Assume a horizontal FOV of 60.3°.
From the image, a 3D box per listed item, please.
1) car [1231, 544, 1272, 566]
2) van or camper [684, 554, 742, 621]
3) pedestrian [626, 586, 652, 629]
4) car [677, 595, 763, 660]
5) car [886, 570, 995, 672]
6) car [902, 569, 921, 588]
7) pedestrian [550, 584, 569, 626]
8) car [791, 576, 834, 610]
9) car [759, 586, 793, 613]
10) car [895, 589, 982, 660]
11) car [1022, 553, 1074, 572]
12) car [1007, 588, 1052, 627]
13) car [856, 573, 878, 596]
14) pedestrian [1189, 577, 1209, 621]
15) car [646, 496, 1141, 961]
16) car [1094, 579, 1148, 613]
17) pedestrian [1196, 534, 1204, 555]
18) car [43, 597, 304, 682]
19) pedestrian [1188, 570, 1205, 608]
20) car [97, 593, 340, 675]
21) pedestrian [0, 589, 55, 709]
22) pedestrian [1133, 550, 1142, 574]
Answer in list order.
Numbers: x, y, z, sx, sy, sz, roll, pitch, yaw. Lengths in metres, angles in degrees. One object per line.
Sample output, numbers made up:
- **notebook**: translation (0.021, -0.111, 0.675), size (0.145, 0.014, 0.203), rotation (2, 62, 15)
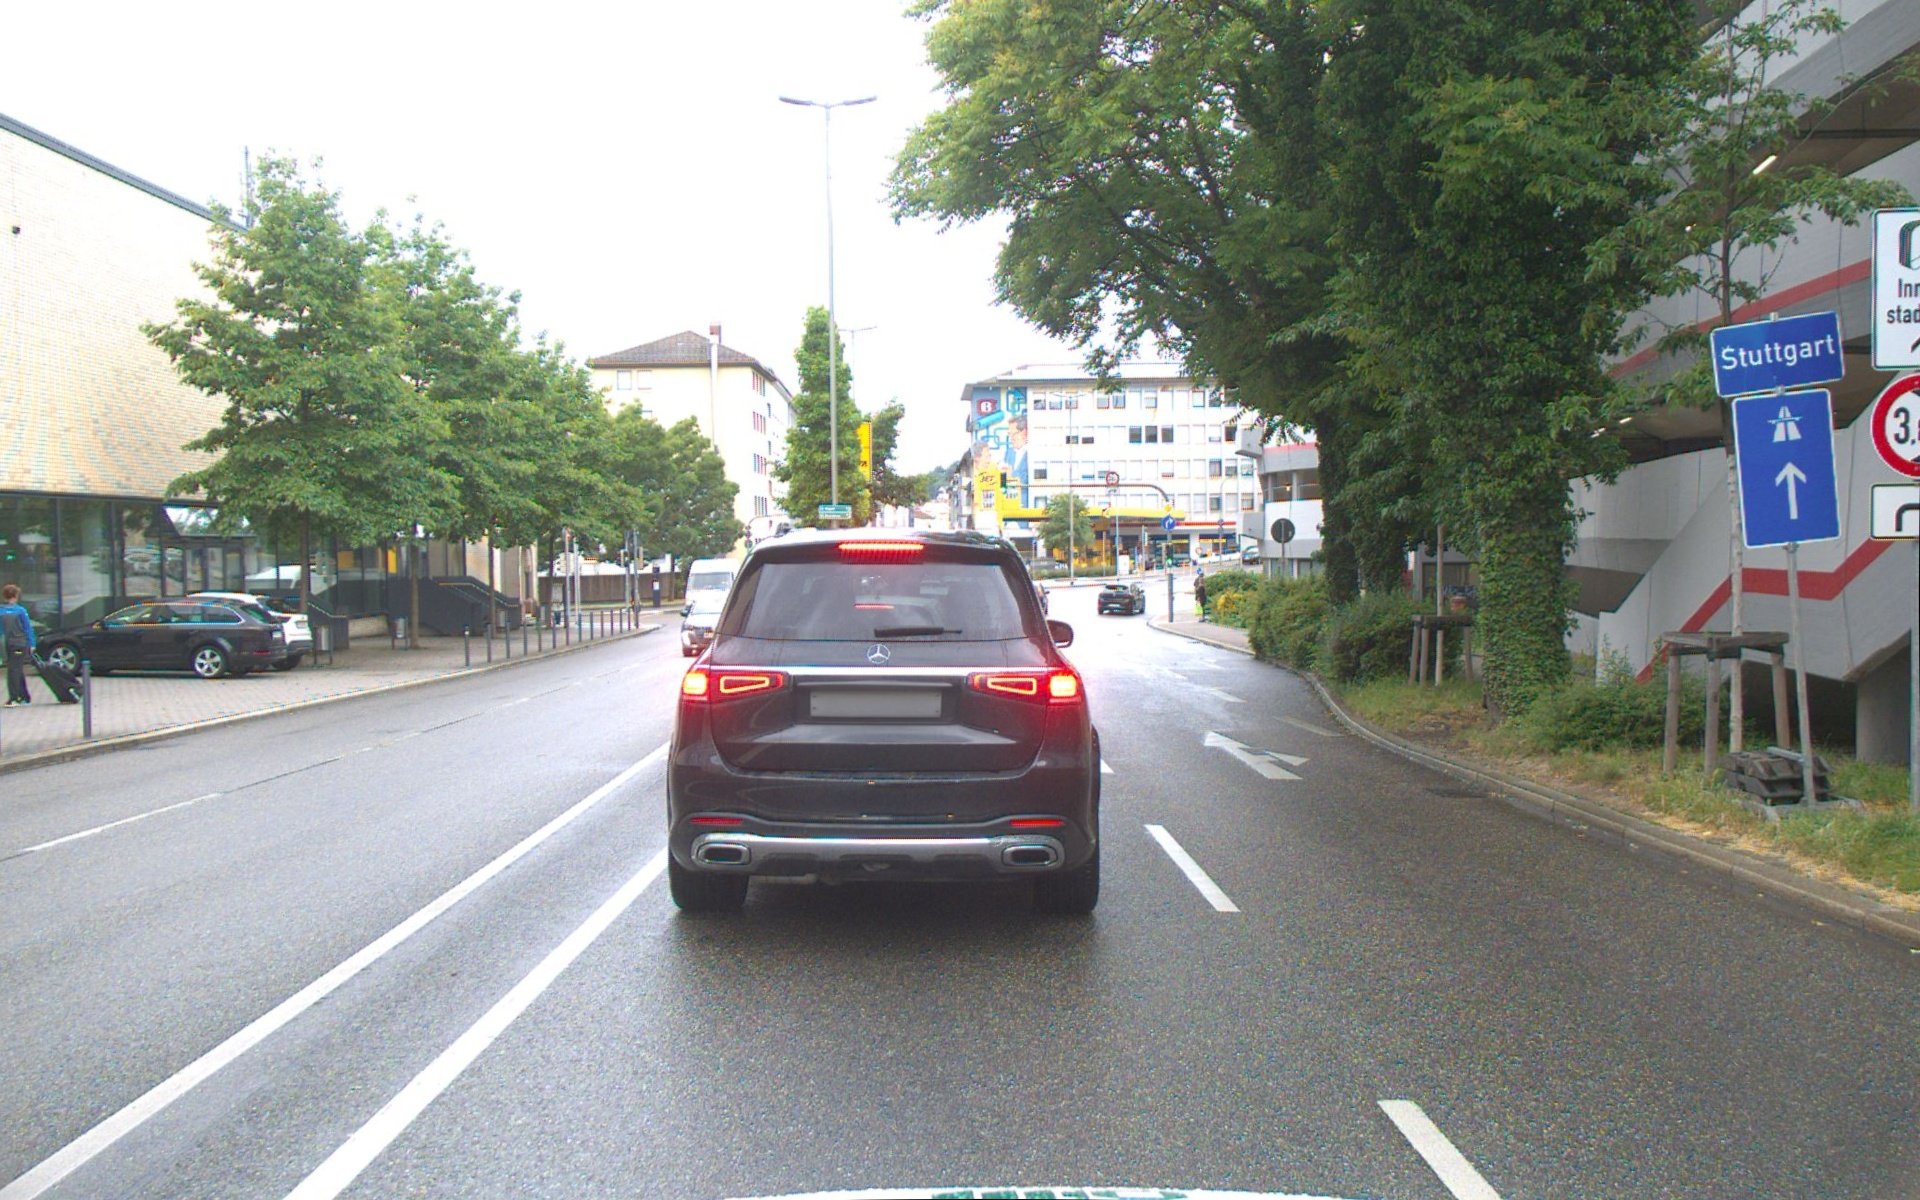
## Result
- **car**: translation (24.469, -3.807, 138.779), size (1.958, 1.735, 3.990), rotation (-1, 1, 33)
- **van or camper**: translation (-10.321, -0.513, 69.467), size (2.061, 2.627, 5.900), rotation (-2, 0, -6)
- **pedestrian**: translation (-13.104, 0.291, 67.558), size (0.931, 1.734, 0.709), rotation (1, -1, -18)
- **car**: translation (-6.001, 0.653, 41.691), size (1.706, 1.496, 3.880), rotation (-2, 0, -3)
- **car**: translation (-0.387, 0.396, 32.215), size (1.953, 1.832, 3.999), rotation (1, 0, -1)
- **car**: translation (-5.339, -2.403, 183.548), size (1.953, 2.049, 4.000), rotation (1, 0, 0)
- **pedestrian**: translation (-16.620, 0.214, 68.651), size (0.630, 1.695, 1.017), rotation (1, 0, -7)
- **car**: translation (-7.000, -0.337, 78.906), size (1.846, 1.524, 4.559), rotation (-2, 0, -3)
- **car**: translation (-10.787, -0.015, 97.345), size (1.761, 1.521, 3.801), rotation (1, 0, -3)
- **car**: translation (-0.503, 0.537, 37.974), size (1.869, 1.527, 3.999), rotation (1, 0, -1)
- **car**: translation (6.834, -2.892, 128.670), size (1.724, 1.400, 3.935), rotation (-3, 1, -44)
- **car**: translation (3.078, 0.303, 72.608), size (1.758, 1.552, 4.058), rotation (1, 1, 5)
- **car**: translation (-8.046, -1.320, 143.749), size (1.830, 1.871, 3.818), rotation (1, 0, -2)
- **pedestrian**: translation (9.457, -0.042, 65.425), size (0.634, 1.740, 0.470), rotation (0, -1, 35)
- **car**: translation (-0.290, 0.525, 8.630), size (1.953, 1.832, 3.999), rotation (1, 0, -1)
- **car**: translation (7.494, -0.155, 76.743), size (1.904, 1.512, 4.003), rotation (1, 0, 14)
- **pedestrian**: translation (19.902, -4.588, 137.073), size (0.515, 1.757, 0.689), rotation (0, 1, 26)
- **car**: translation (-15.110, 0.749, 32.001), size (4.097, 1.521, 1.997), rotation (1, 0, -8)
- **pedestrian**: translation (10.933, -0.499, 76.474), size (0.703, 1.720, 0.455), rotation (1, -1, -7)
- **car**: translation (-15.312, 0.687, 34.301), size (4.090, 1.574, 2.000), rotation (1, 0, 0)
- **pedestrian**: translation (-13.888, 0.712, 24.401), size (0.621, 1.744, 0.705), rotation (1, -1, 2)
- **pedestrian**: translation (12.936, -2.778, 120.305), size (0.560, 1.727, 0.631), rotation (1, -1, 0)
